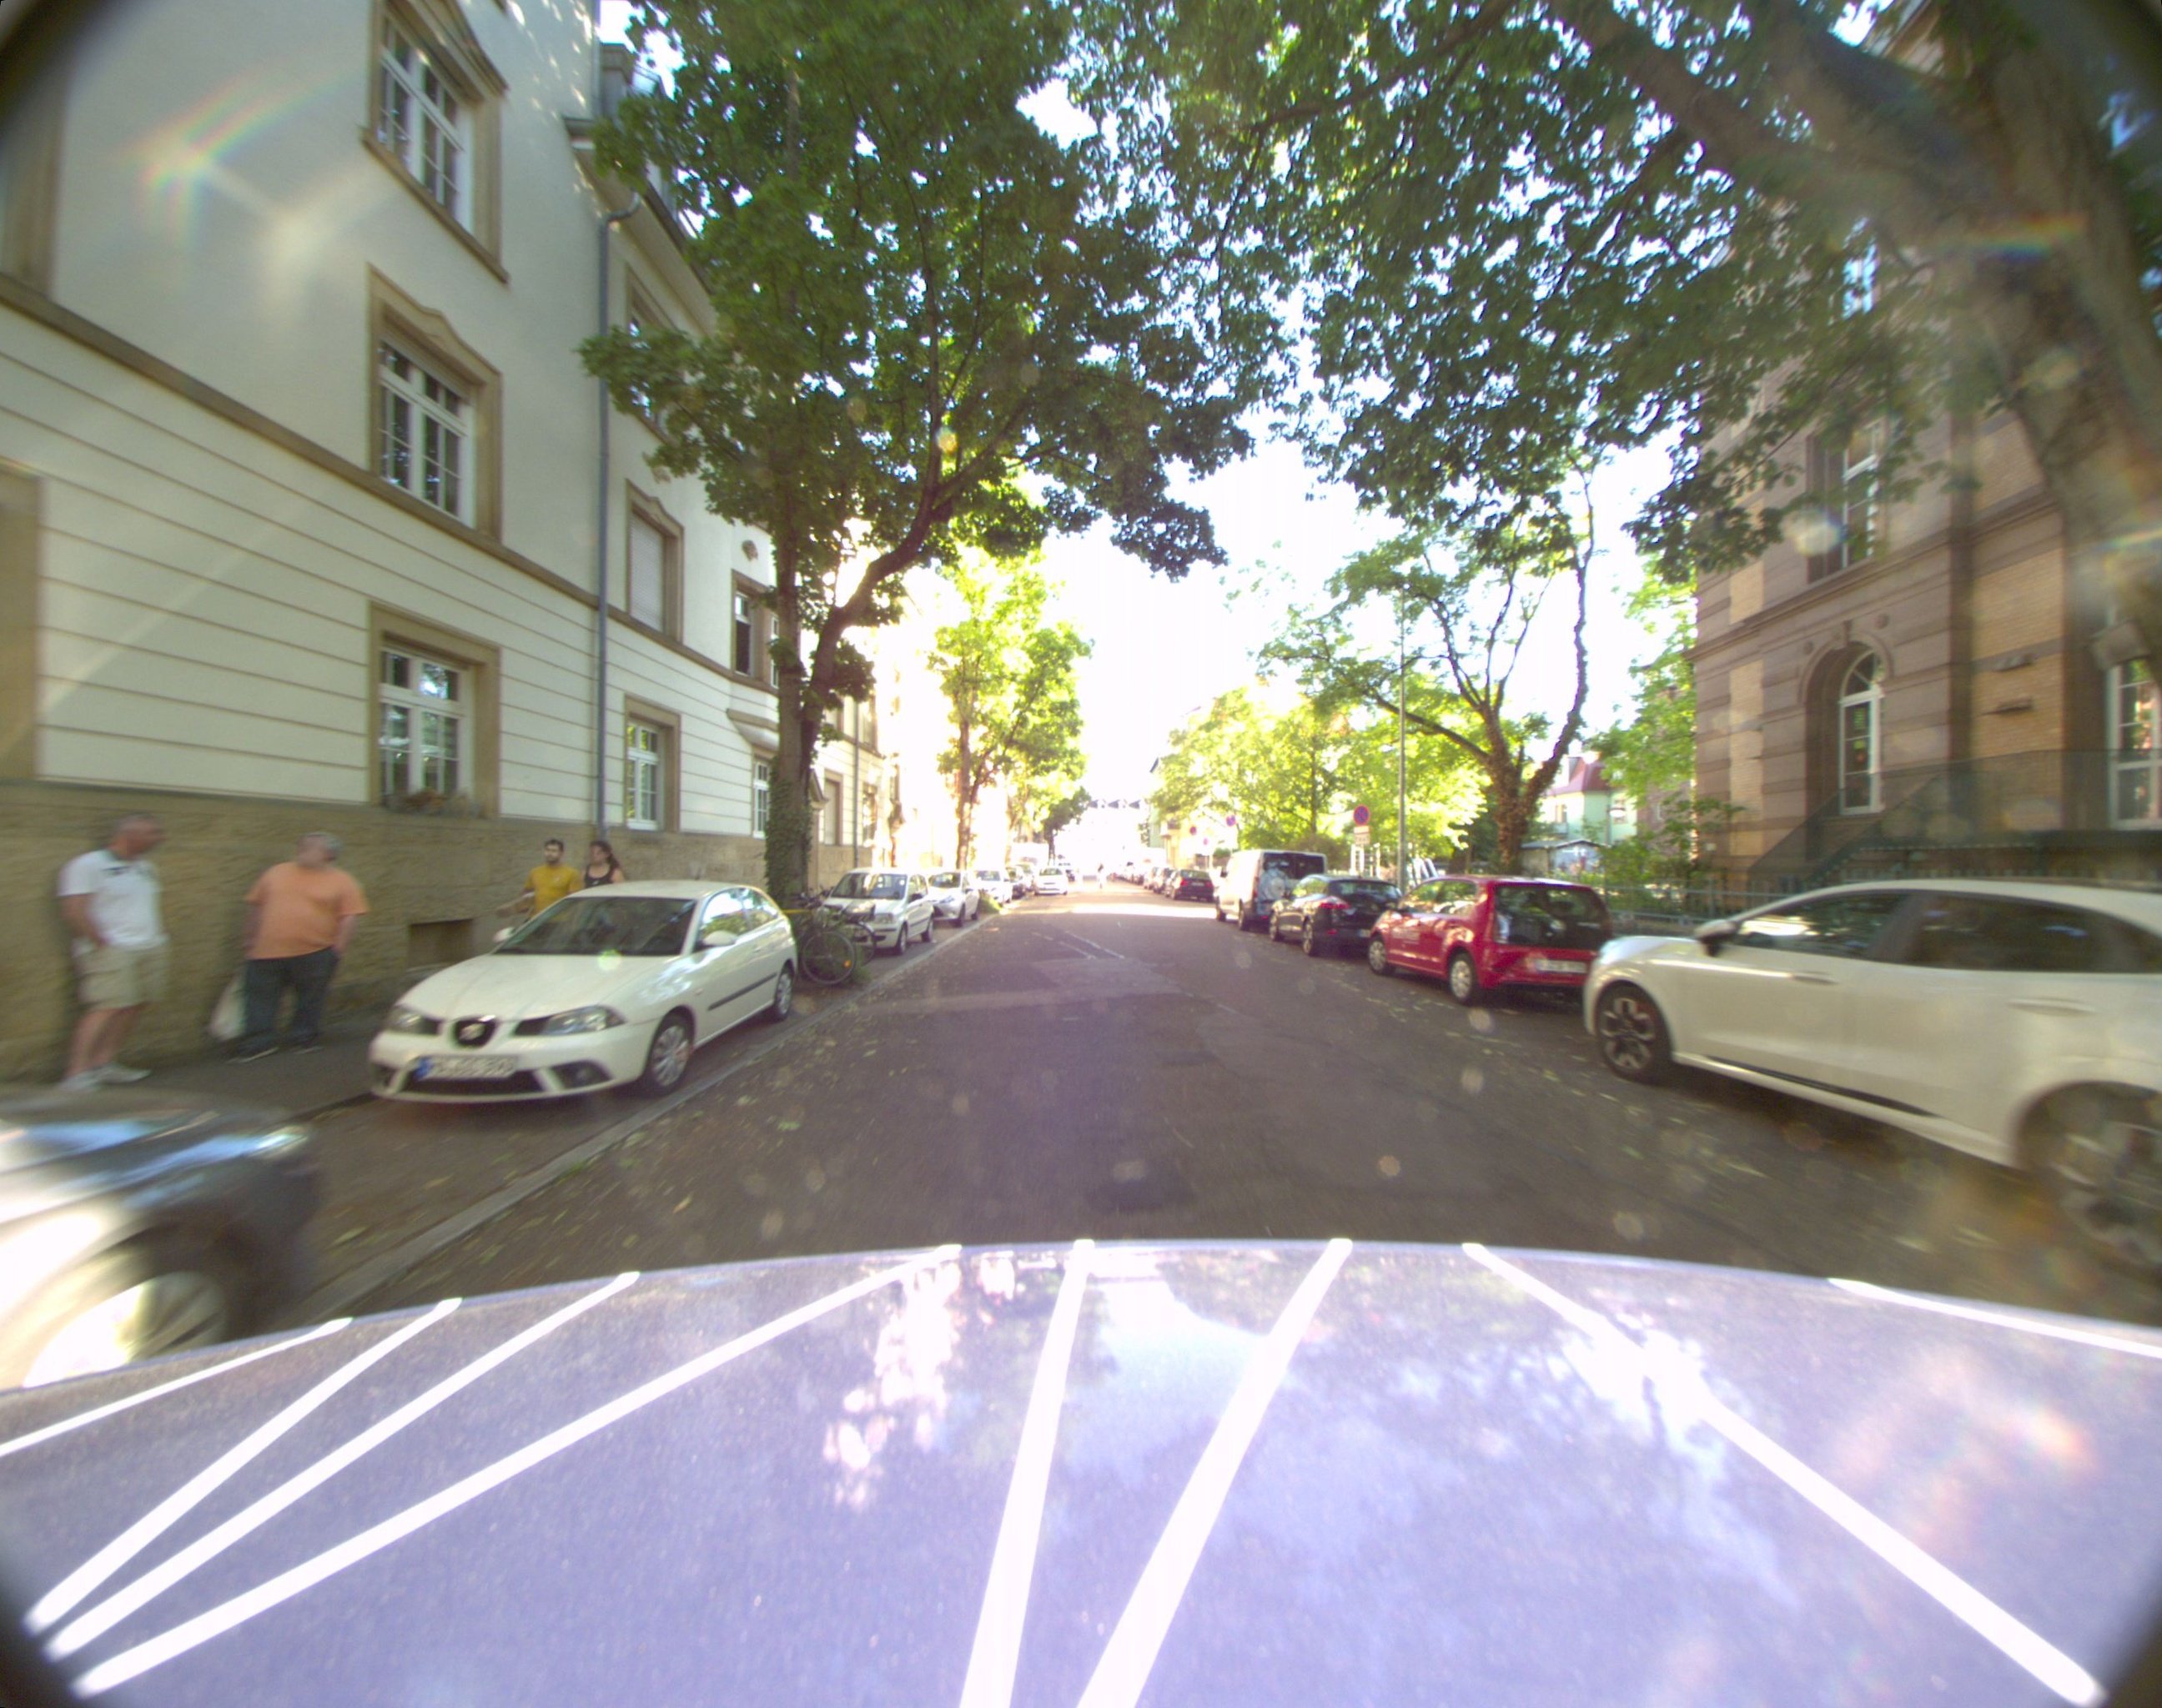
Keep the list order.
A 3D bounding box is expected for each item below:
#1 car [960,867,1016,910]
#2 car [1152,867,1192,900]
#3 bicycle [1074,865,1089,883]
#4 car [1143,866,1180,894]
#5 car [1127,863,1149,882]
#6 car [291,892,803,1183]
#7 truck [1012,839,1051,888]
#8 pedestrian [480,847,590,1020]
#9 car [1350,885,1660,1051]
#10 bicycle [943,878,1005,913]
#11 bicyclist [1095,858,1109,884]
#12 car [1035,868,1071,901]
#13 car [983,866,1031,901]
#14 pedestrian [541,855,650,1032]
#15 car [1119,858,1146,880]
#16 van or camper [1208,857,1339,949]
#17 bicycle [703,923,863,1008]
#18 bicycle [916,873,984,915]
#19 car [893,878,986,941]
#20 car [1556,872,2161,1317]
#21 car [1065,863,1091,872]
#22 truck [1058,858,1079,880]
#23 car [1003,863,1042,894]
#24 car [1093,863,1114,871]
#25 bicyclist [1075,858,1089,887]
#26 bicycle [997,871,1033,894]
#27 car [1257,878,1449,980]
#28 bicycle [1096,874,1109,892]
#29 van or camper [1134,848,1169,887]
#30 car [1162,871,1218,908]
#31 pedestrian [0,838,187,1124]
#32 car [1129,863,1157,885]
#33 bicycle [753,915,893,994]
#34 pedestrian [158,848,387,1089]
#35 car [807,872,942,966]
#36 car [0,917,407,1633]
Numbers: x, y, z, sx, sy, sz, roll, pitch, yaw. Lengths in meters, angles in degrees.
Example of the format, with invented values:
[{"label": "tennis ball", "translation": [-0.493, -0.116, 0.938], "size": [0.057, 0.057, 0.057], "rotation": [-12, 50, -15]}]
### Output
[{"label": "car", "translation": [-3.510, 1.290, 29.202], "size": [1.600, 1.479, 3.748], "rotation": [1, 0, 1]}, {"label": "car", "translation": [4.812, 1.560, 40.814], "size": [1.680, 1.563, 4.152], "rotation": [3, -1, 2]}, {"label": "bicycle", "translation": [0.053, 1.211, 46.120], "size": [0.707, 1.039, 1.858], "rotation": [-3, 0, 4]}, {"label": "car", "translation": [4.932, 1.568, 47.019], "size": [1.785, 1.581, 4.469], "rotation": [2, -1, 0]}, {"label": "car", "translation": [5.087, 1.651, 68.706], "size": [1.639, 1.543, 4.088], "rotation": [1, 0, 0]}, {"label": "car", "translation": [-3.687, 1.115, 6.196], "size": [1.615, 1.469, 3.869], "rotation": [0, -1, -3]}, {"label": "truck", "translation": [-3.210, 0.627, 50.238], "size": [2.079, 2.951, 6.109], "rotation": [3, -1, 0]}, {"label": "pedestrian", "translation": [-5.566, 0.780, 7.779], "size": [0.597, 1.691, 0.689], "rotation": [1, 0, 2]}, {"label": "car", "translation": [4.923, 1.209, 9.559], "size": [1.606, 1.451, 4.028], "rotation": [3, -1, 0]}, {"label": "bicycle", "translation": [-3.597, 1.390, 25.587], "size": [1.974, 1.066, 0.599], "rotation": [2, 0, 2]}, {"label": "bicyclist", "translation": [1.260, 1.040, 45.967], "size": [0.757, 1.556, 0.981], "rotation": [-1, 0, 1]}, {"label": "car", "translation": [-1.385, 1.529, 38.722], "size": [1.683, 1.535, 3.800], "rotation": [-1, -1, 0]}, {"label": "car", "translation": [-3.399, 1.324, 35.424], "size": [1.791, 1.505, 4.460], "rotation": [-1, -1, 0]}, {"label": "pedestrian", "translation": [-4.985, 0.877, 7.851], "size": [0.521, 1.724, 0.878], "rotation": [1, 0, 2]}, {"label": "car", "translation": [5.377, 1.523, 79.511], "size": [2.257, 2.156, 5.243], "rotation": [3, 0, -1]}, {"label": "van or camper", "translation": [4.819, 1.133, 19.981], "size": [1.926, 1.968, 5.461], "rotation": [3, 0, 0]}, {"label": "bicycle", "translation": [-3.740, 1.386, 9.622], "size": [1.719, 0.944, 0.733], "rotation": [1, 0, 1]}, {"label": "bicycle", "translation": [-4.156, 1.266, 24.111], "size": [1.974, 1.222, 0.760], "rotation": [2, 0, 2]}, {"label": "car", "translation": [-3.653, 1.397, 20.303], "size": [1.626, 1.386, 4.158], "rotation": [1, 0, 1]}, {"label": "car", "translation": [4.799, 0.958, 4.000], "size": [1.830, 1.545, 4.133], "rotation": [4, 0, -2]}, {"label": "car", "translation": [-0.593, 2.356, 135.324], "size": [4.493, 1.498, 1.944], "rotation": [0, 0, -6]}, {"label": "truck", "translation": [-1.119, 1.359, 70.383], "size": [1.833, 1.937, 5.541], "rotation": [0, -1, 1]}, {"label": "car", "translation": [-3.310, 1.371, 43.826], "size": [1.890, 1.706, 4.944], "rotation": [1, -1, -1]}, {"label": "car", "translation": [3.954, 2.378, 135.881], "size": [3.613, 1.440, 1.553], "rotation": [0, 1, -7]}, {"label": "bicyclist", "translation": [0.065, 1.117, 46.134], "size": [0.716, 1.679, 0.981], "rotation": [-2, 0, 3]}, {"label": "bicycle", "translation": [-3.454, 1.504, 39.966], "size": [1.815, 1.160, 0.569], "rotation": [1, 0, 0]}, {"label": "car", "translation": [4.888, 1.271, 14.463], "size": [2.006, 1.449, 4.606], "rotation": [2, 0, 1]}, {"label": "bicycle", "translation": [1.269, 1.741, 45.979], "size": [0.741, 1.053, 1.858], "rotation": [-1, 0, 1]}, {"label": "van or camper", "translation": [5.294, 0.994, 57.864], "size": [2.134, 2.752, 5.852], "rotation": [2, 0, 1]}, {"label": "car", "translation": [4.863, 1.555, 34.514], "size": [1.718, 1.387, 4.779], "rotation": [4, 0, 0]}, {"label": "pedestrian", "translation": [-6.455, 0.755, 4.887], "size": [0.491, 1.695, 0.757], "rotation": [1, 0, 0]}, {"label": "car", "translation": [5.124, 1.653, 63.634], "size": [1.880, 1.675, 4.970], "rotation": [2, -1, 0]}, {"label": "bicycle", "translation": [-3.660, 1.422, 10.844], "size": [1.774, 1.033, 0.606], "rotation": [-1, 0, 1]}, {"label": "pedestrian", "translation": [-6.105, 0.808, 5.798], "size": [0.780, 1.684, 0.874], "rotation": [1, 0, 0]}, {"label": "car", "translation": [-3.748, 1.117, 14.369], "size": [1.524, 1.502, 3.544], "rotation": [0, 0, 1]}, {"label": "car", "translation": [-3.313, 0.992, 0.565], "size": [1.794, 1.541, 4.409], "rotation": [0, 0, -2]}]
